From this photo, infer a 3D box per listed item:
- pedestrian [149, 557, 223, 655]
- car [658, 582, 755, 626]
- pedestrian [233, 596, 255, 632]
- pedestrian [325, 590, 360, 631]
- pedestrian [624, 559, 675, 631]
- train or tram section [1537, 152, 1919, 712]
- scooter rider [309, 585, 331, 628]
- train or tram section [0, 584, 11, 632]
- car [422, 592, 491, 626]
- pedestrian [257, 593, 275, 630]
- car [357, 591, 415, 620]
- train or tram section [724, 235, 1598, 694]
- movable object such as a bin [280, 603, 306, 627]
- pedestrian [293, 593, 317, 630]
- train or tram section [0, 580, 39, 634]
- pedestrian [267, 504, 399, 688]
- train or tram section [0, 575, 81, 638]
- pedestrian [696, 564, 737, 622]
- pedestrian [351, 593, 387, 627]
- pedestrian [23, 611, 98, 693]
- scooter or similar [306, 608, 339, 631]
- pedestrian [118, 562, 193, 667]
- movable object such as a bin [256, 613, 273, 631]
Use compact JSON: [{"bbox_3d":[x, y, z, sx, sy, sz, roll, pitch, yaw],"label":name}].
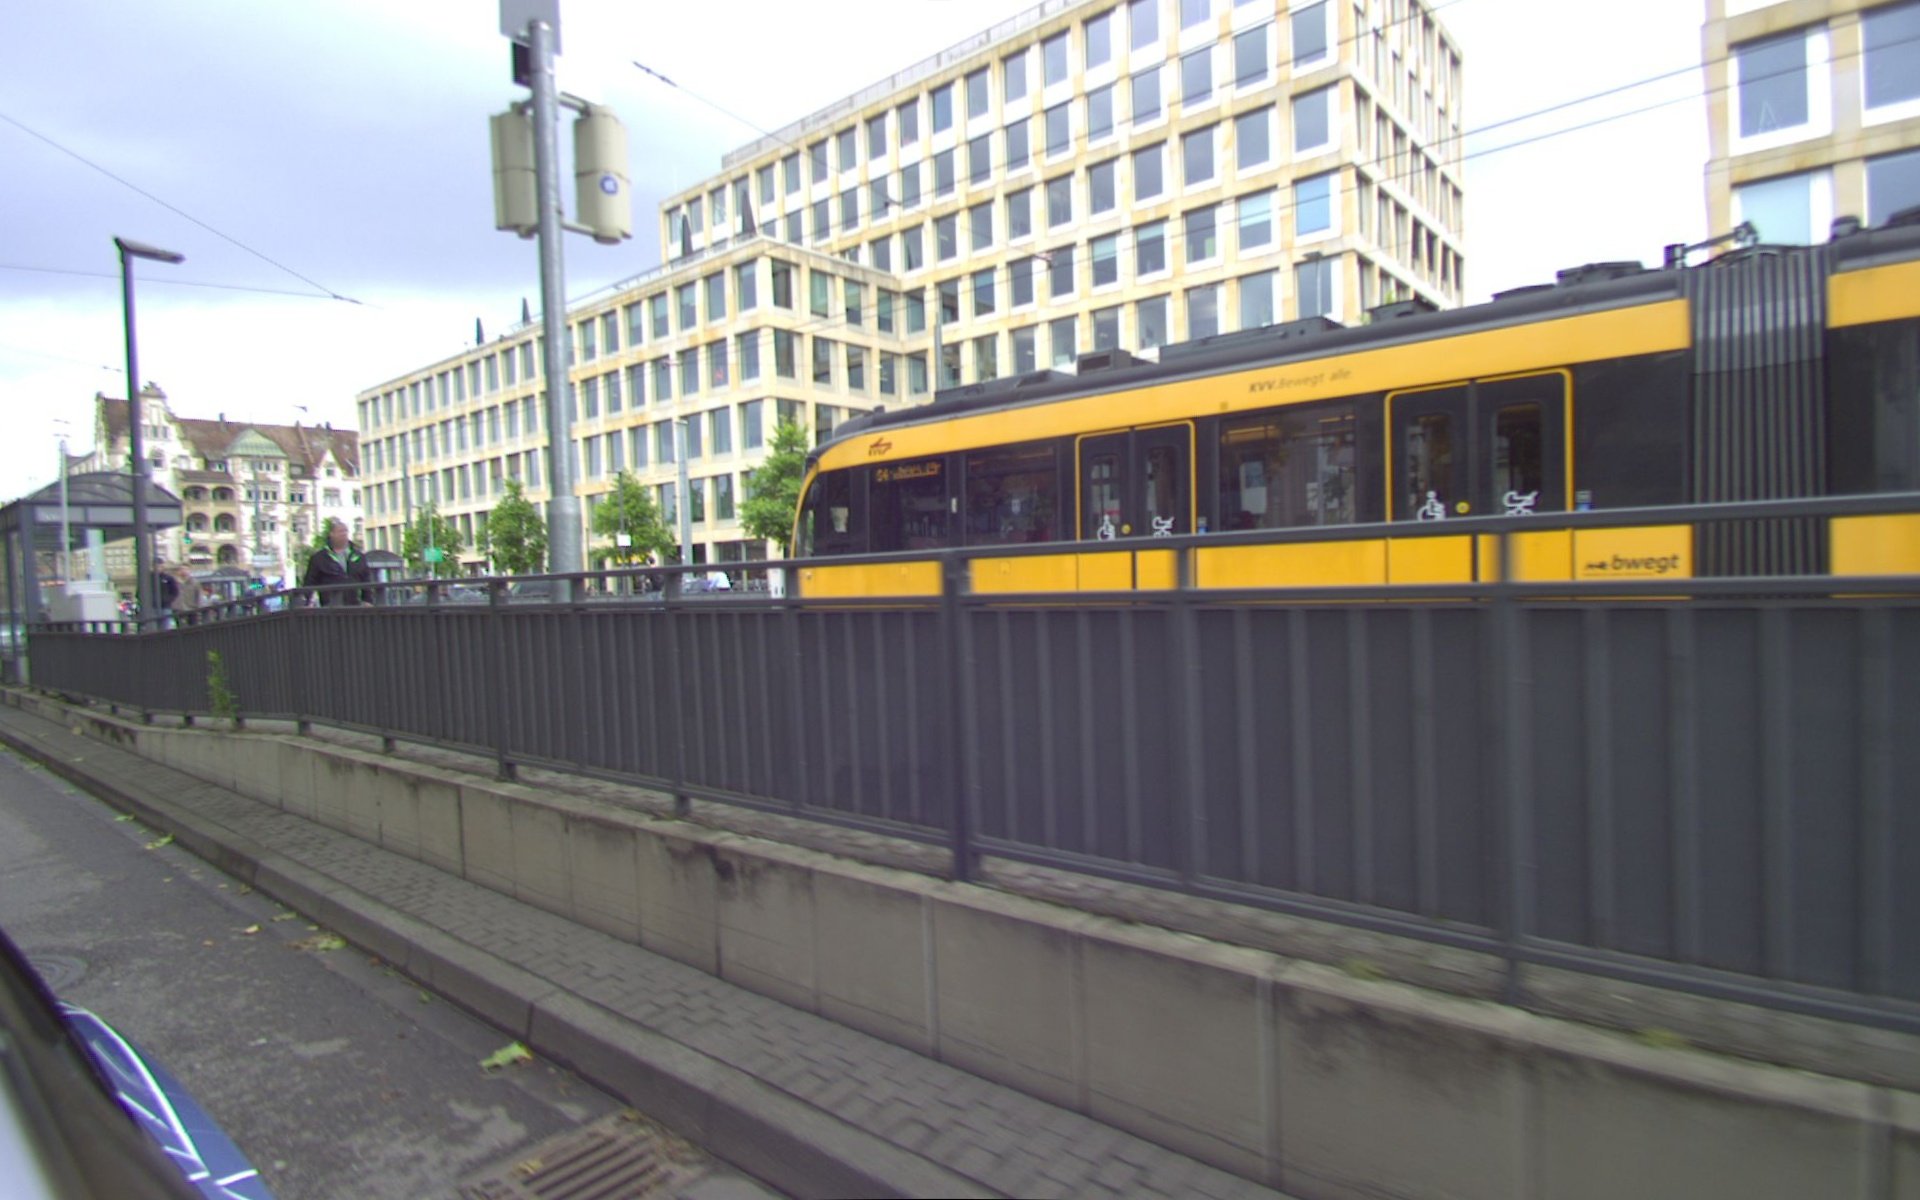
[{"bbox_3d":[-14.728,0.107,19.264,1.108,1.807,0.666,-1,1,27],"label":"pedestrian"},{"bbox_3d":[-10.481,0.143,41.659,3.999,1.674,1.972,0,2,42],"label":"car"},{"bbox_3d":[-35.991,0.686,50.877,0.589,1.782,0.588,-2,1,3],"label":"pedestrian"},{"bbox_3d":[-26.740,0.444,43.839,0.939,1.698,1.027,-1,2,43],"label":"pedestrian"},{"bbox_3d":[-8.072,-0.134,26.291,1.159,1.809,0.704,-1,1,39],"label":"pedestrian"},{"bbox_3d":[10.208,-1.241,6.086,11.305,3.890,3.131,-1,2,41],"label":"train or tram section"},{"bbox_3d":[-25.161,0.237,39.782,0.545,1.661,0.405,-2,1,-11],"label":"scooter rider"},{"bbox_3d":[-79.292,0.704,81.315,11.754,3.667,2.827,-1,2,40],"label":"train or tram section"},{"bbox_3d":[-27.160,0.466,54.567,3.999,1.674,1.972,0,2,42],"label":"car"},{"bbox_3d":[-30.956,0.530,45.152,0.529,1.619,0.566,-3,1,-43],"label":"pedestrian"},{"bbox_3d":[-35.931,0.357,63.327,3.999,1.674,1.972,0,2,42],"label":"car"},{"bbox_3d":[1.626,-1.161,13.513,11.305,3.890,3.204,-1,2,41],"label":"train or tram section"},{"bbox_3d":[-29.533,0.651,44.810,0.714,1.029,0.620,-1,1,7],"label":"movable object such as a bin"},{"bbox_3d":[-29.398,0.495,45.404,0.649,1.619,0.578,-1,1,7],"label":"pedestrian"},{"bbox_3d":[-70.263,0.533,73.807,11.689,3.667,2.827,-1,2,40],"label":"train or tram section"},{"bbox_3d":[-7.306,-0.055,11.814,0.839,2.028,1.048,-1,1,40],"label":"pedestrian"},{"bbox_3d":[-60.539,0.436,65.801,13.508,3.719,2.827,-1,2,40],"label":"train or tram section"},{"bbox_3d":[-8.669,-0.241,36.038,1.031,2.028,0.924,-1,1,39],"label":"pedestrian"},{"bbox_3d":[-24.997,0.417,42.811,0.939,1.382,1.027,-1,2,43],"label":"pedestrian"},{"bbox_3d":[-15.269,0.864,17.187,0.613,1.313,0.827,-1,1,39],"label":"pedestrian"},{"bbox_3d":[-25.081,0.754,39.810,0.988,0.856,0.389,-2,1,-11],"label":"scooter or similar"},{"bbox_3d":[-14.281,0.249,17.970,1.109,1.807,0.665,-1,1,32],"label":"pedestrian"},{"bbox_3d":[-31.300,0.997,45.535,0.529,0.753,0.469,-3,2,-43],"label":"movable object such as a bin"}]
